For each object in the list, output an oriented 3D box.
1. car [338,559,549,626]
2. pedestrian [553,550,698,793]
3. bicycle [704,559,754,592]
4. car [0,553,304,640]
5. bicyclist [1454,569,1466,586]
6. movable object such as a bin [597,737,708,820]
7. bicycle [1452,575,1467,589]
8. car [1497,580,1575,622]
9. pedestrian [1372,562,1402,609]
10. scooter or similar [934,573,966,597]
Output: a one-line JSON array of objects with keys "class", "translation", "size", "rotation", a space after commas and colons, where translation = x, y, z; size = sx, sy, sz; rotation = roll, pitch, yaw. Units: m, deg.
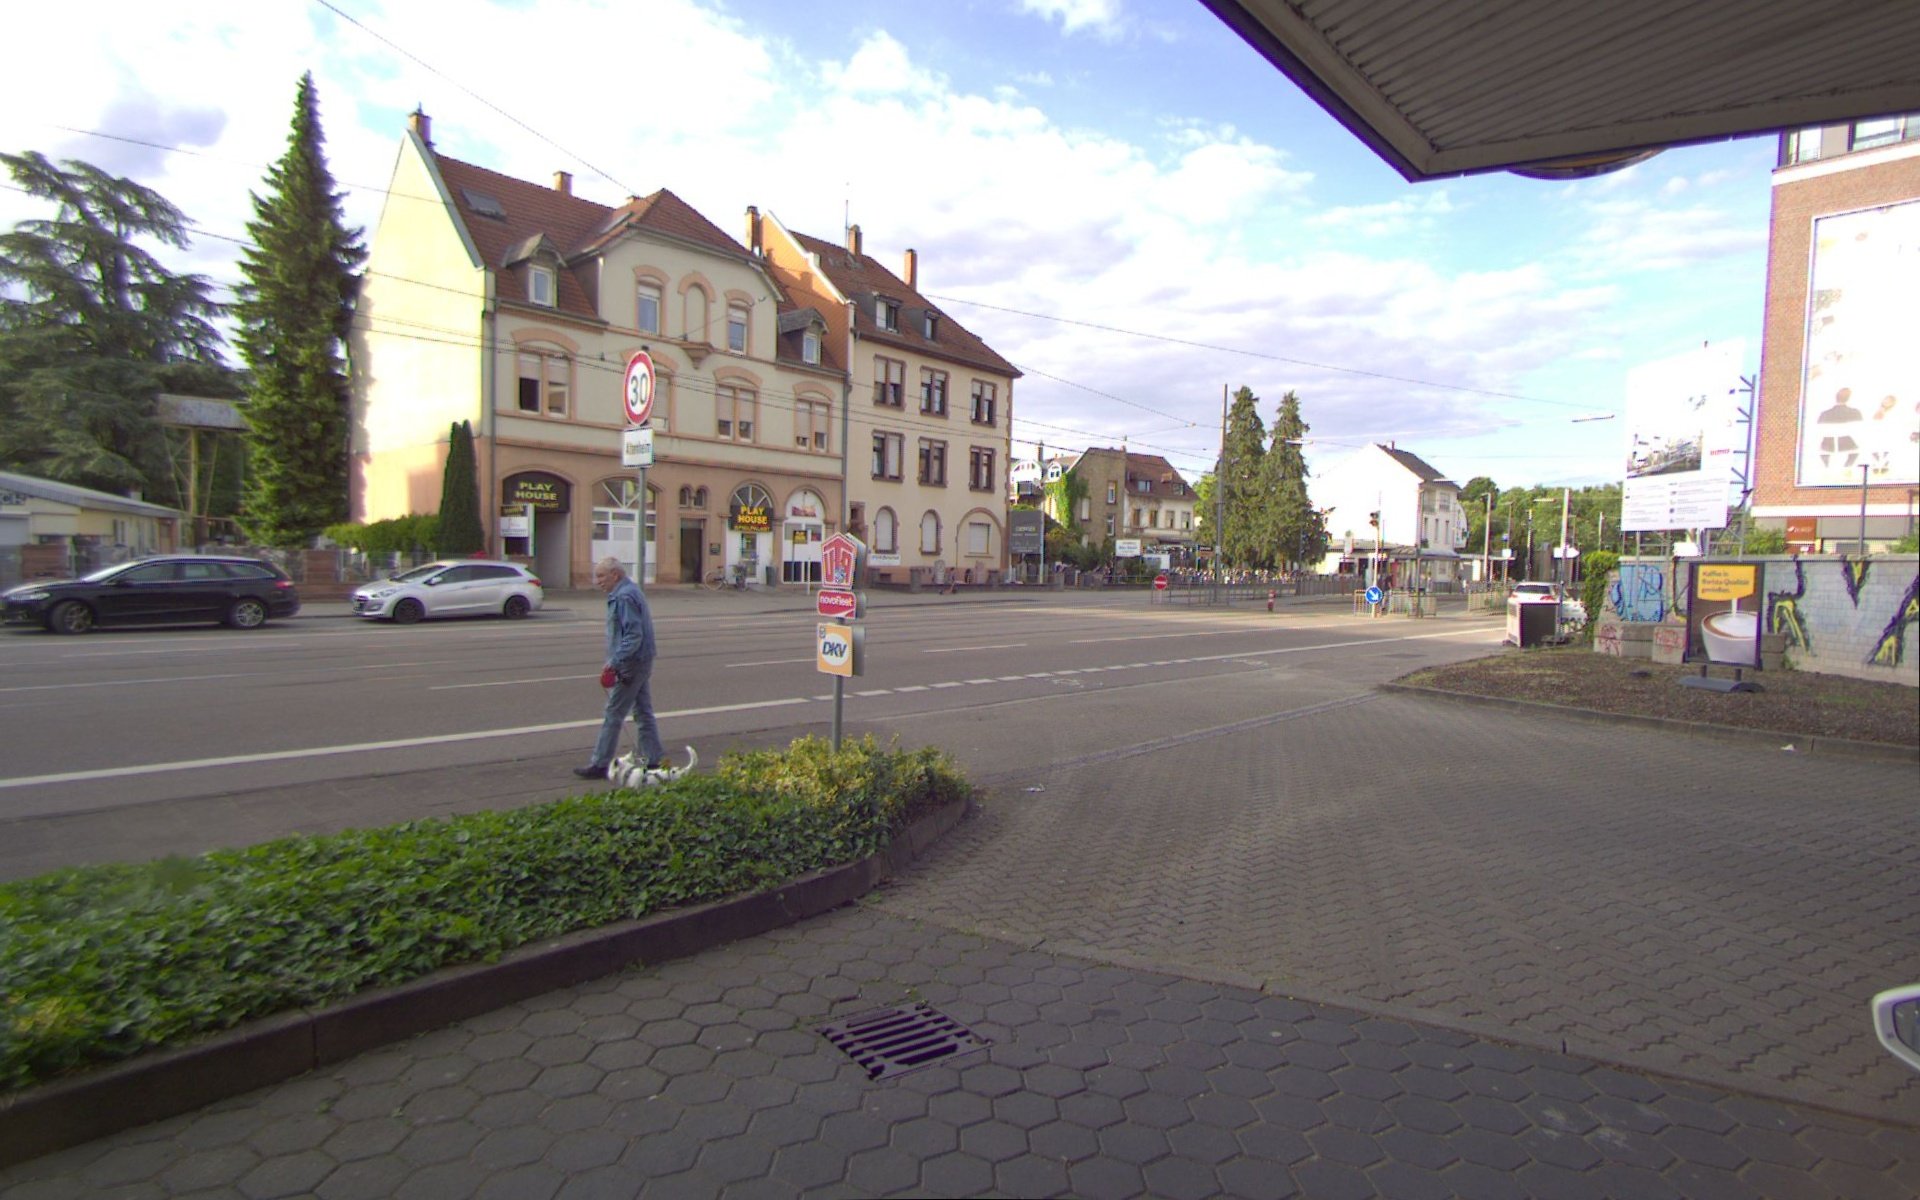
[{"class": "car", "translation": [-12.921, -0.233, 25.362], "size": [1.699, 1.503, 4.434], "rotation": [4, 4, 40]}, {"class": "pedestrian", "translation": [-2.541, 0.502, 7.640], "size": [0.956, 1.690, 0.999], "rotation": [1, 1, -20]}, {"class": "bicycle", "translation": [-9.110, -0.956, 39.616], "size": [0.665, 1.229, 1.862], "rotation": [4, 2, 40]}, {"class": "car", "translation": [-16.601, -0.137, 20.739], "size": [1.983, 1.520, 4.755], "rotation": [4, 4, 39]}, {"class": "bicyclist", "translation": [44.501, -2.005, 89.470], "size": [0.671, 1.555, 1.079], "rotation": [2, 2, 43]}, {"class": "movable object such as a bin", "translation": [-2.026, 1.161, 6.611], "size": [0.669, 0.426, 0.479], "rotation": [1, 1, -20]}, {"class": "bicycle", "translation": [44.495, -1.641, 89.479], "size": [0.671, 1.239, 1.908], "rotation": [2, 2, 42]}, {"class": "car", "translation": [23.290, -0.010, 40.559], "size": [1.735, 1.497, 3.975], "rotation": [6, 5, 44]}, {"class": "pedestrian", "translation": [18.975, -0.624, 44.644], "size": [0.838, 2.040, 0.805], "rotation": [2, 0, -20]}, {"class": "scooter or similar", "translation": [-0.440, -0.667, 45.118], "size": [0.461, 1.041, 1.655], "rotation": [4, 3, 40]}]
